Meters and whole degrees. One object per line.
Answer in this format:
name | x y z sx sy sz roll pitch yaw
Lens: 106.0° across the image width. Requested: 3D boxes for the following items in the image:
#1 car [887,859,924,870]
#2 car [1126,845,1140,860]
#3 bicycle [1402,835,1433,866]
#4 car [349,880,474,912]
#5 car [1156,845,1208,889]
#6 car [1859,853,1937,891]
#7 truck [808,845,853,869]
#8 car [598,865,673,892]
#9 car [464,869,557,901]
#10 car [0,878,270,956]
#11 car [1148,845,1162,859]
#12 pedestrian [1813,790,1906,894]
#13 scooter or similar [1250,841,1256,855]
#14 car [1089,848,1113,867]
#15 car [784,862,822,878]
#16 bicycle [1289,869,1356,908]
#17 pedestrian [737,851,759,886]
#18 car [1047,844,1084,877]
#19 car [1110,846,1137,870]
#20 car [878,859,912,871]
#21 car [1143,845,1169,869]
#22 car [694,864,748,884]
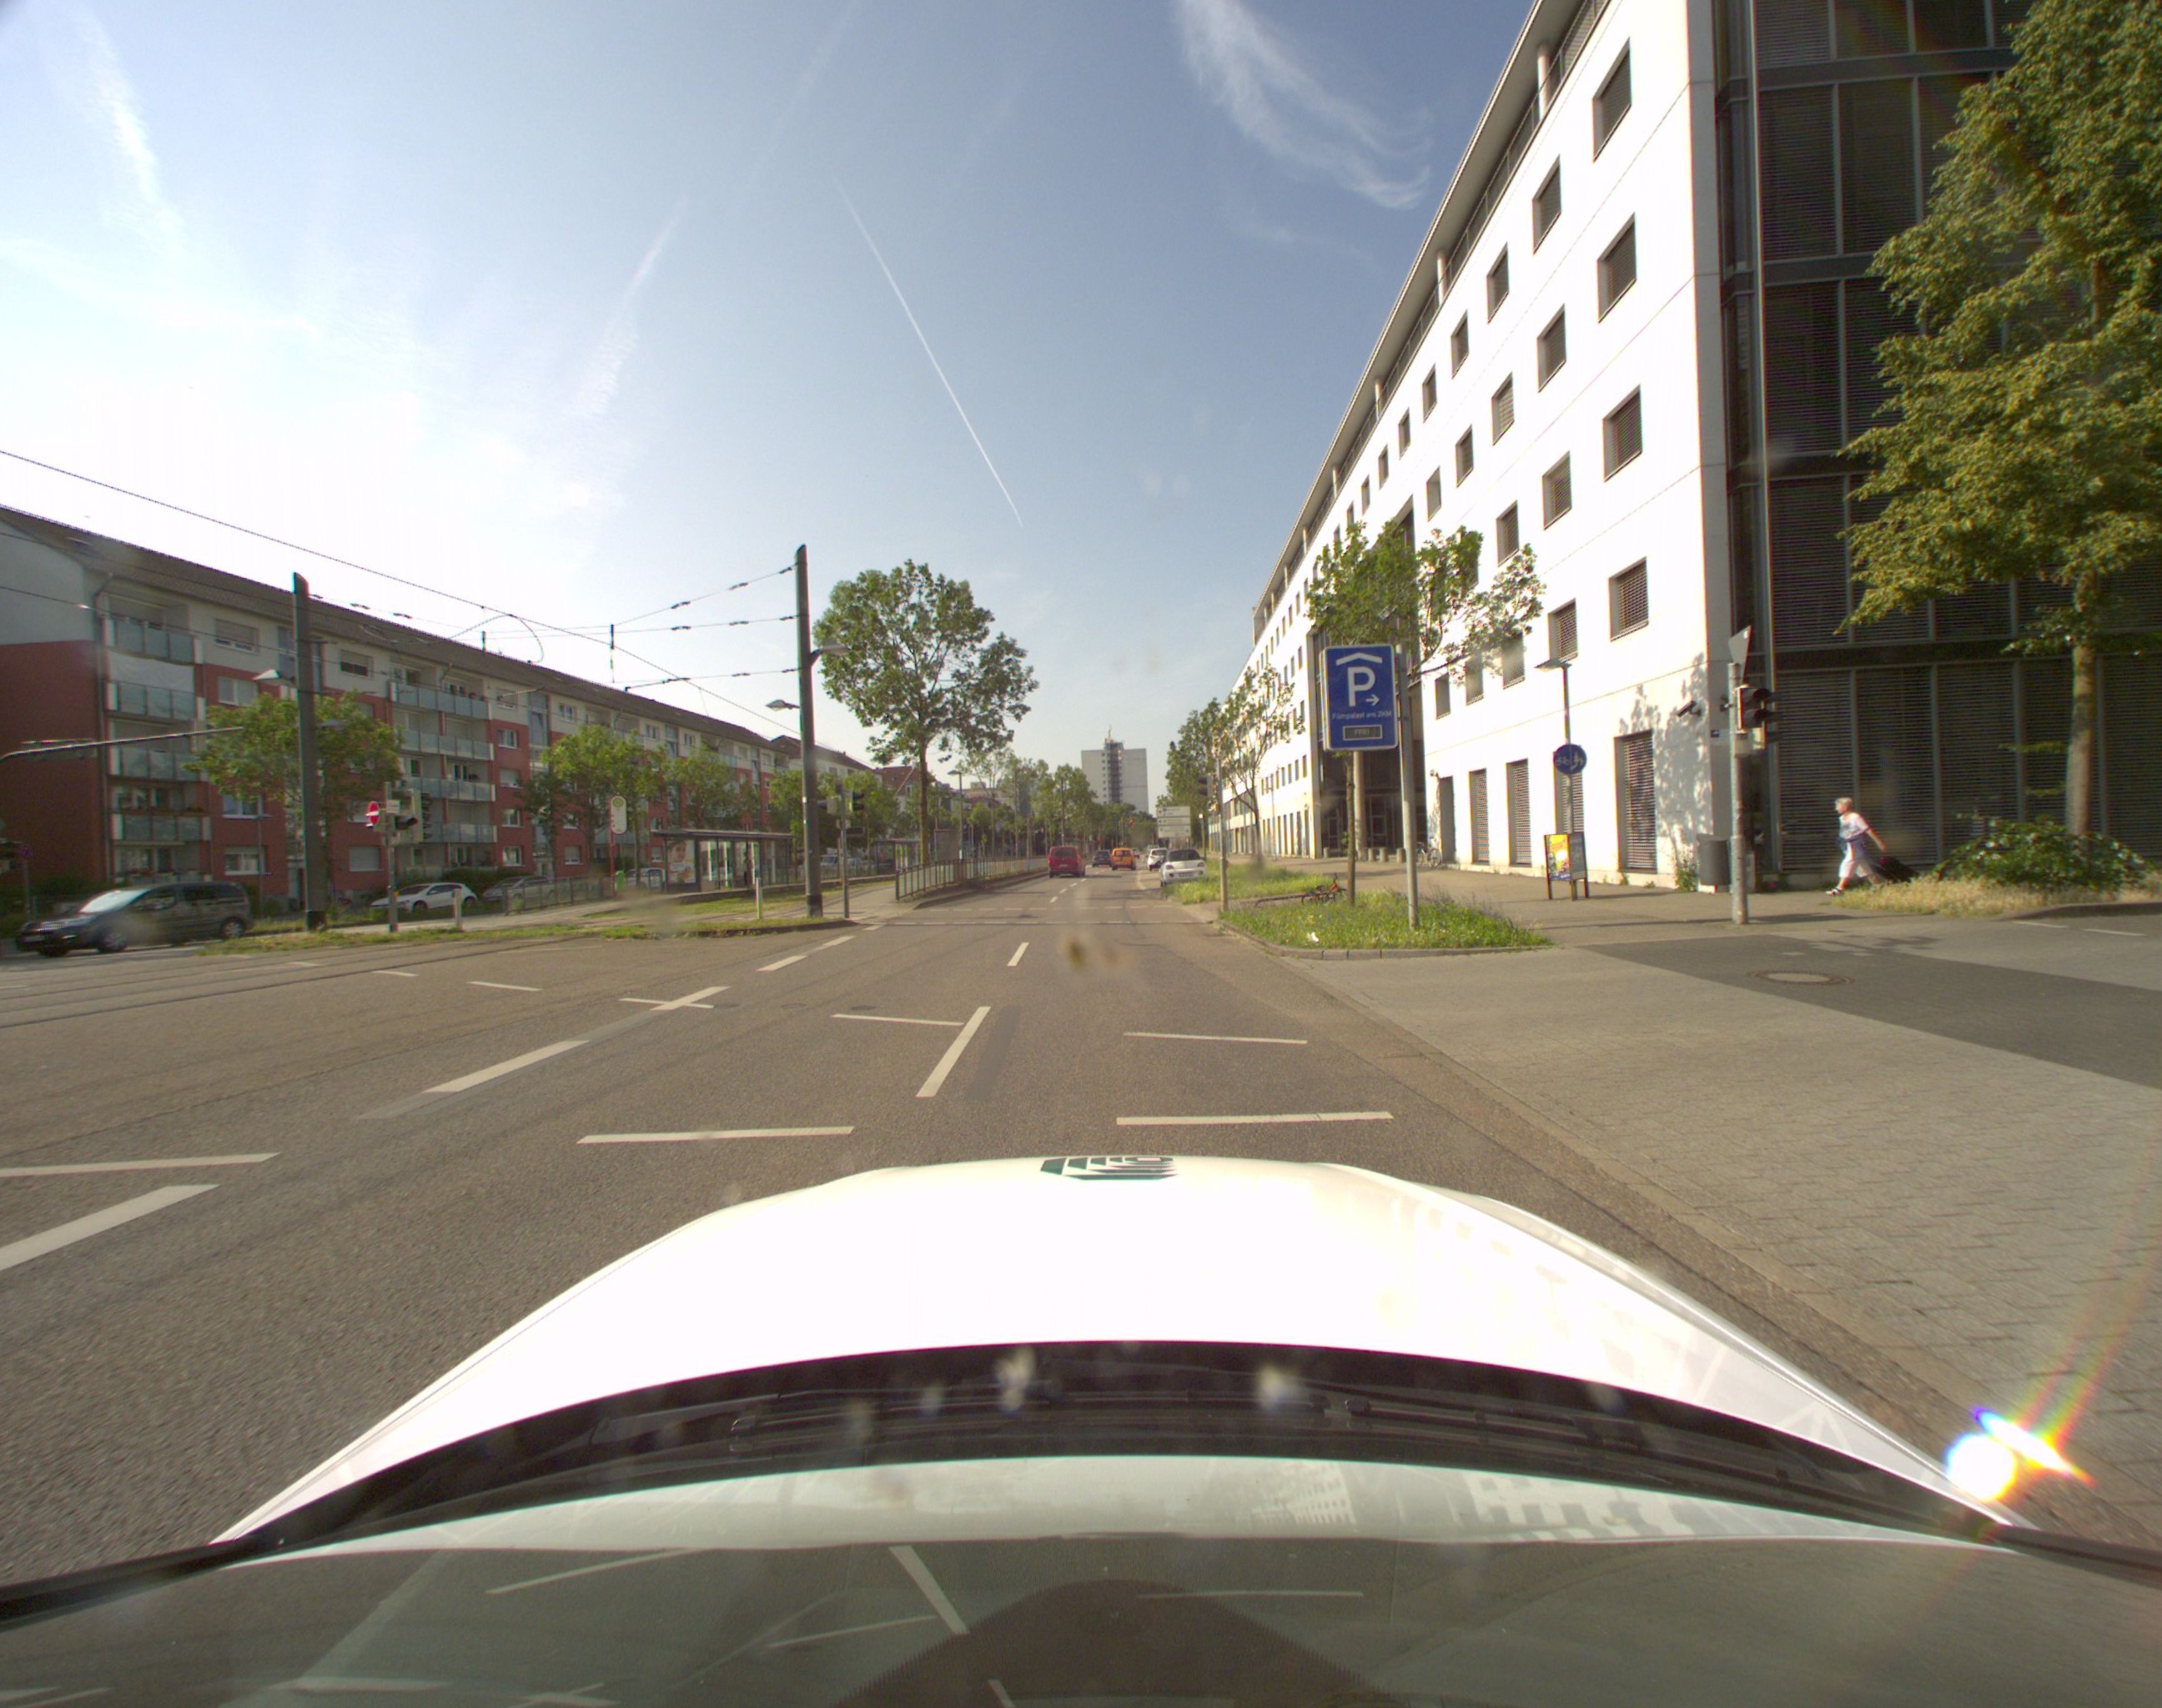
car | -21.765 1.255 101.090 3.954 1.244 1.949 -2 0 20
car | 7.672 -0.227 120.714 1.985 2.013 4.004 -2 0 3
bicycle | 12.298 -0.117 29.812 0.492 1.086 1.550 -4 0 2
car | -28.922 1.775 35.367 1.825 1.147 4.169 0 0 4
car | 3.866 0.453 31.706 1.713 1.519 3.785 -2 1 4
car | 13.527 0.294 13.496 0.762 0.587 0.499 -2 0 4
truck | -27.840 0.350 90.725 2.355 2.563 7.248 0 0 4
car | -27.932 1.510 51.224 1.972 1.556 4.542 0 0 4
car | -28.760 1.519 41.230 1.825 1.471 3.831 0 0 4
car | -25.539 1.607 22.193 1.985 1.706 4.717 -2 0 3
car | 11.020 -0.340 121.206 1.984 2.013 4.005 -2 0 4
pedestrian | 12.723 -0.193 13.334 0.774 1.616 0.714 -2 0 3
scooter or similar | 15.506 -0.547 73.537 0.459 1.213 1.258 -4 0 10
car | 1.868 0.291 74.591 1.984 1.706 4.005 0 0 4
car | -25.858 1.489 75.912 1.972 1.360 4.073 0 0 4
bicycle | 5.156 0.731 17.422 1.263 0.632 0.523 -8 -2 11
pedestrian | -15.819 0.677 38.729 0.669 1.653 0.794 -2 0 0
car | -0.902 0.355 49.715 1.866 1.853 4.004 -2 0 3
car | 3.330 0.283 63.436 1.867 1.696 3.979 -2 0 5
car | -22.284 1.343 97.504 3.948 1.244 1.844 -2 0 35
car | 5.308 0.209 57.682 1.681 1.526 3.856 -4 0 5
car | -26.948 1.501 61.075 1.972 1.360 4.073 0 0 4
